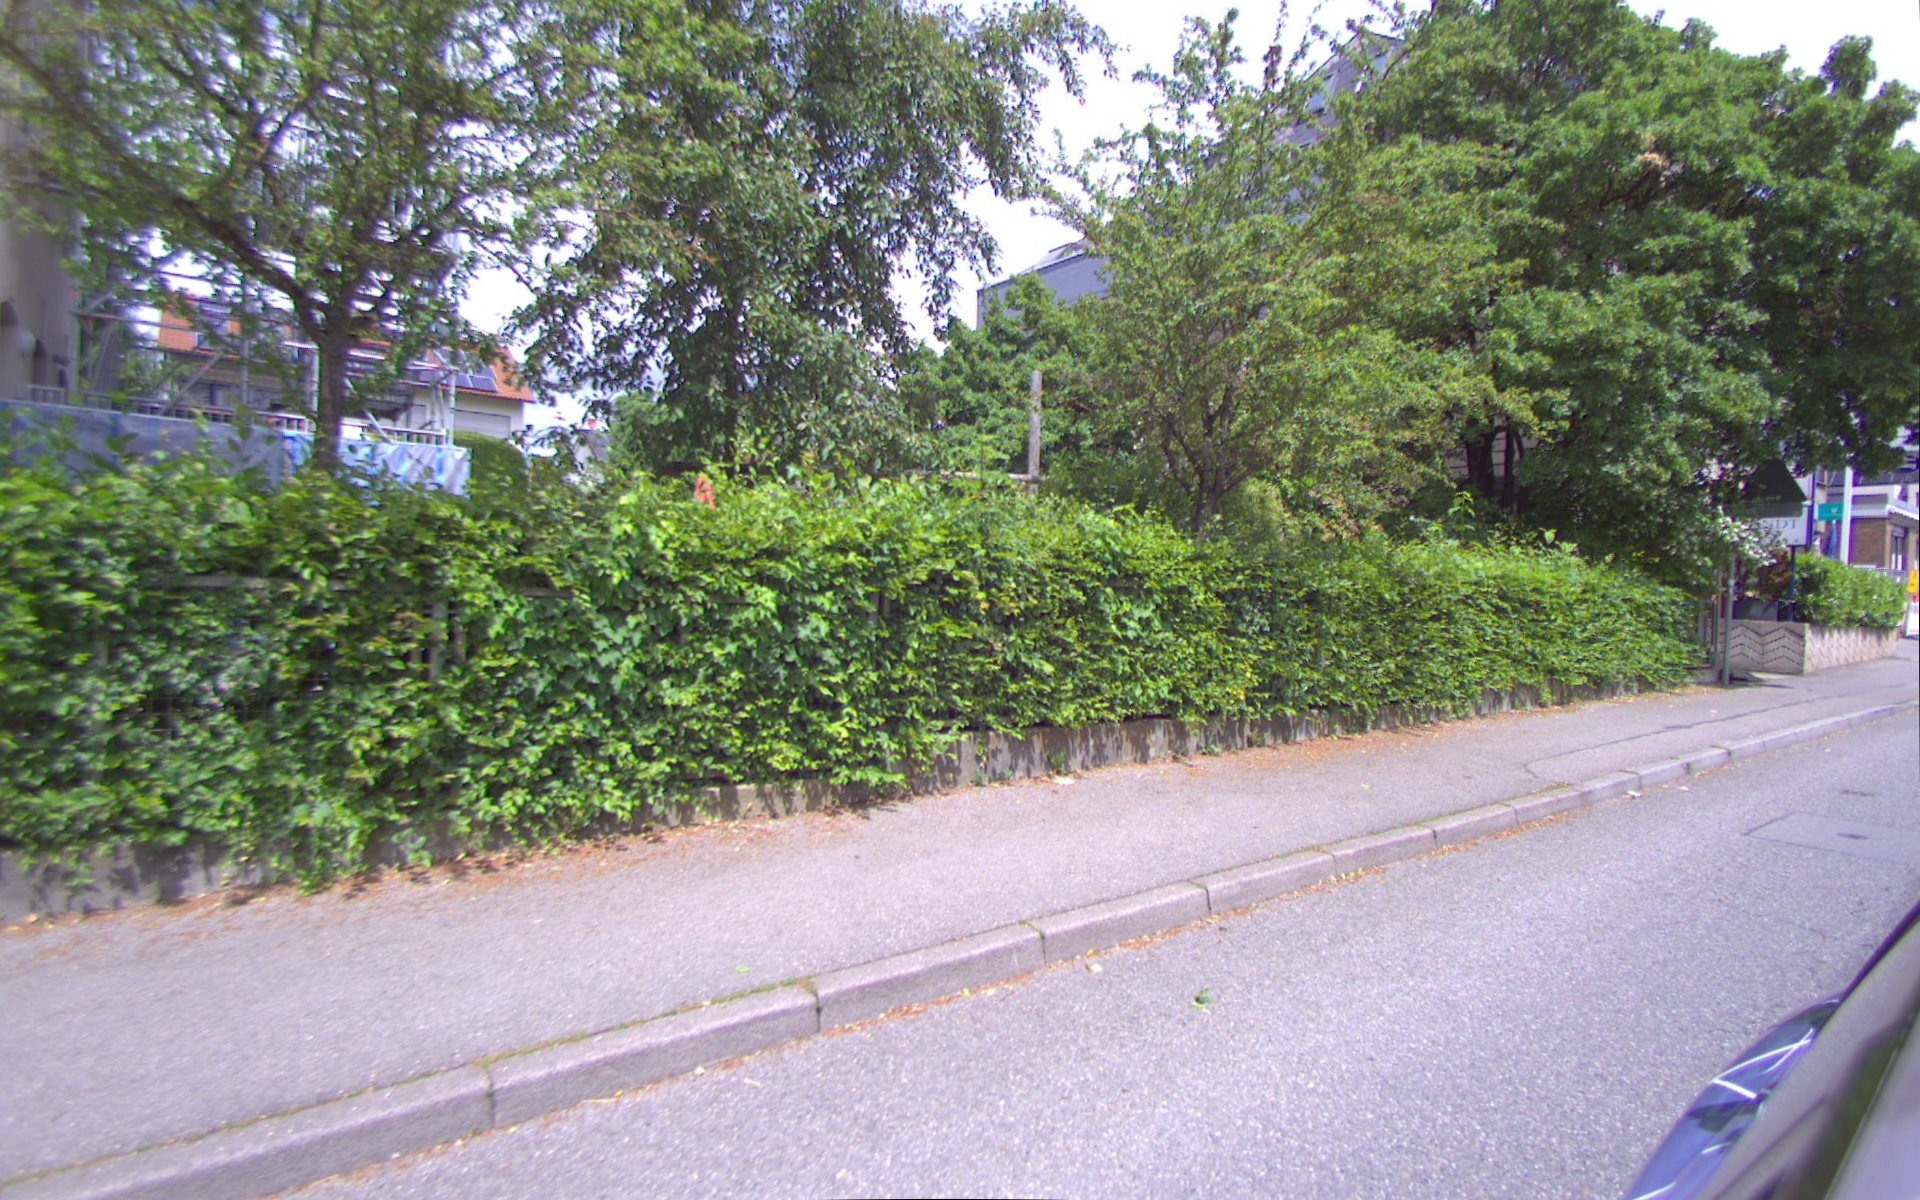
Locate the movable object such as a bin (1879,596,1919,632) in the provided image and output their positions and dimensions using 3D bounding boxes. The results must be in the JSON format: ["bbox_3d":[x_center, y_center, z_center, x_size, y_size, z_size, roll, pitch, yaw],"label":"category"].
[{"bbox_3d":[26.271,0.380,28.215,0.461,0.925,0.790,0,6,-38],"label":"movable object such as a bin"}]
